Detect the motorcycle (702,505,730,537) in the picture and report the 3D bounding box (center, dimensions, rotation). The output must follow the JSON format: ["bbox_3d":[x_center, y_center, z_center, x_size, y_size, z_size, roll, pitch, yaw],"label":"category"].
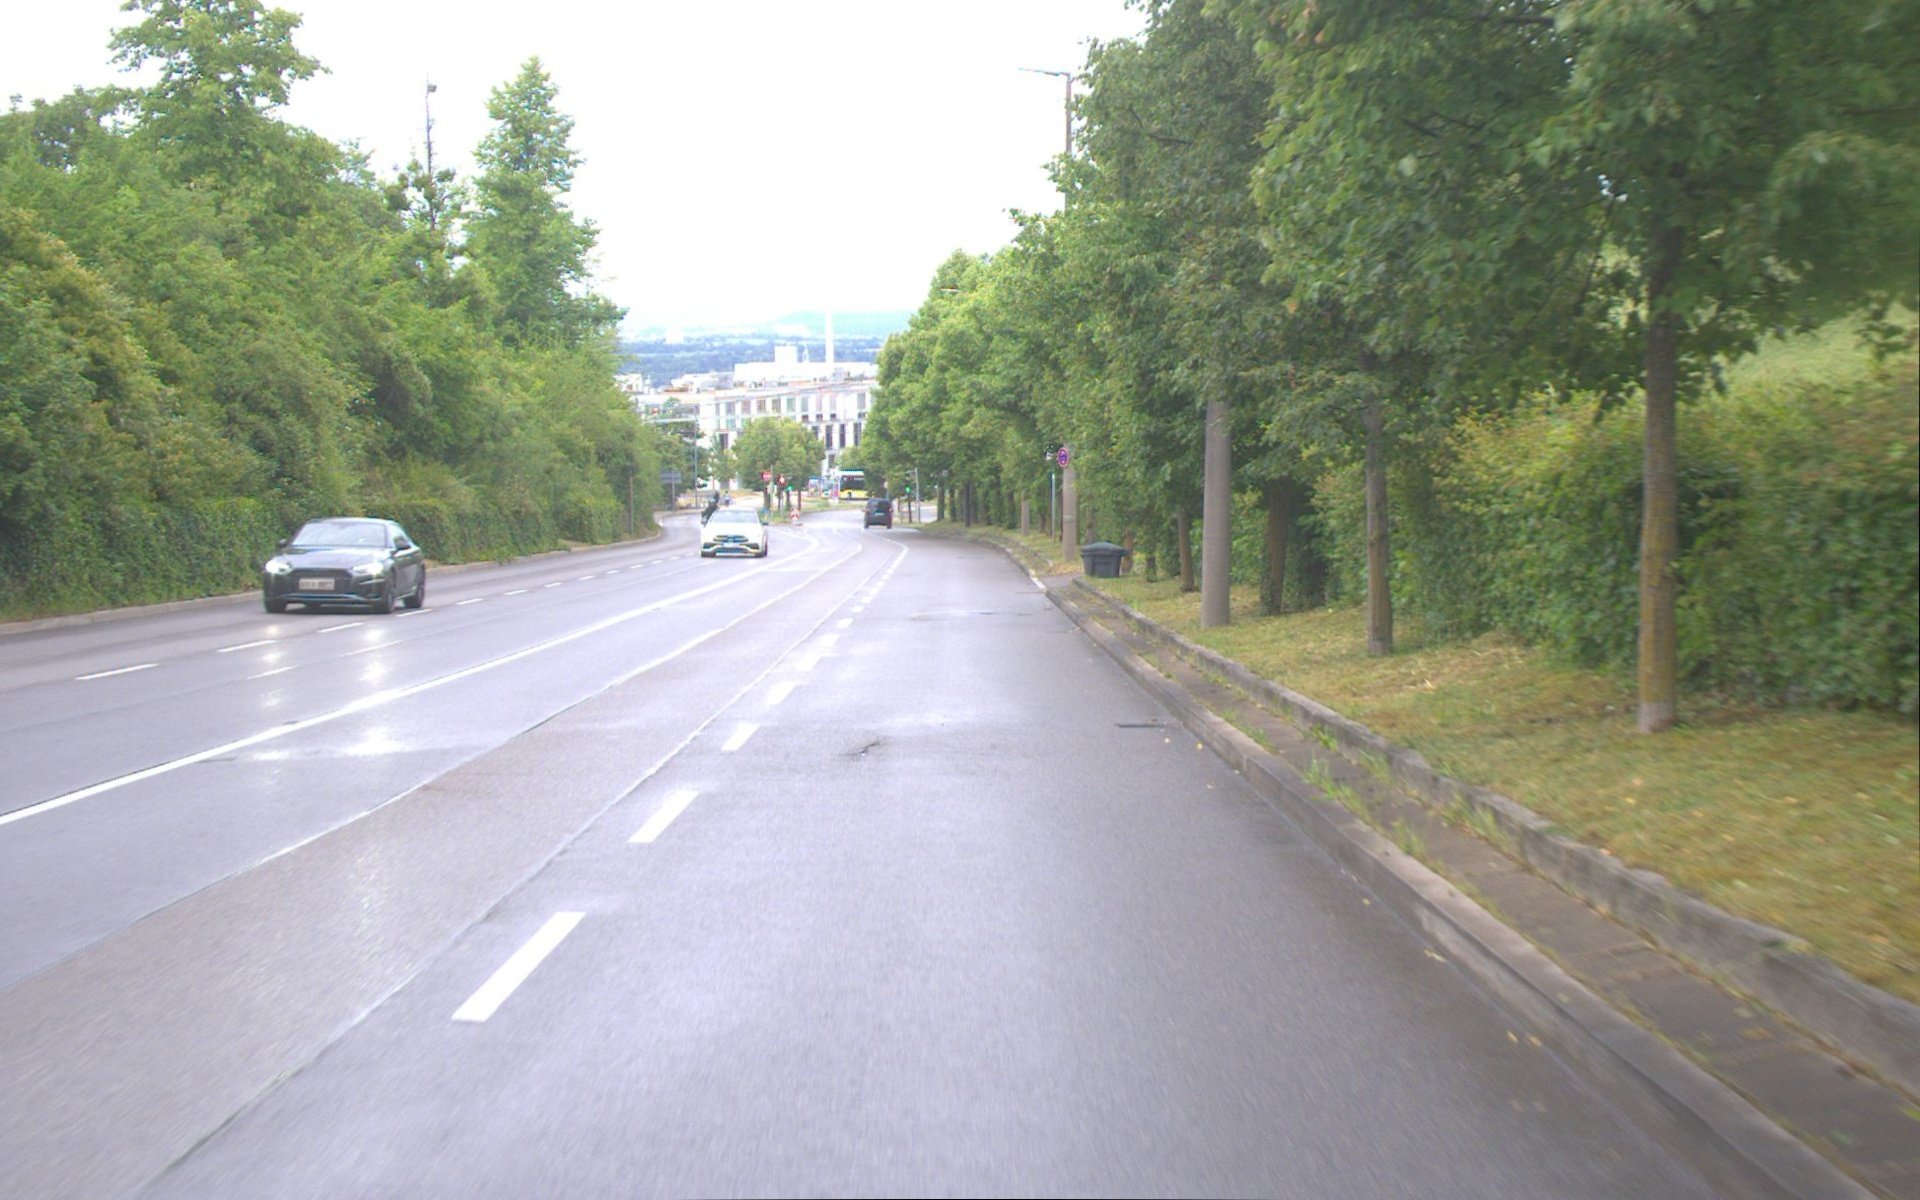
[{"bbox_3d":[-8.594,-2.782,121.243,0.805,1.127,2.231,1,1,0],"label":"motorcycle"}]

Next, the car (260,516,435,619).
[{"bbox_3d":[-9.138,-0.520,51.622,1.759,1.376,4.838,1,2,0],"label":"car"}]

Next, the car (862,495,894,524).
[{"bbox_3d":[-5.113,-5.638,213.952,1.849,1.696,3.793,1,0,-2],"label":"car"}]

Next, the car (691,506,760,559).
[{"bbox_3d":[-7.006,-2.047,102.856,1.715,1.500,4.517,1,2,0],"label":"car"}]

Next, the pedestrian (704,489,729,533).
[{"bbox_3d":[-8.593,-3.135,121.268,0.805,1.536,1.111,1,1,0],"label":"pedestrian"}]
